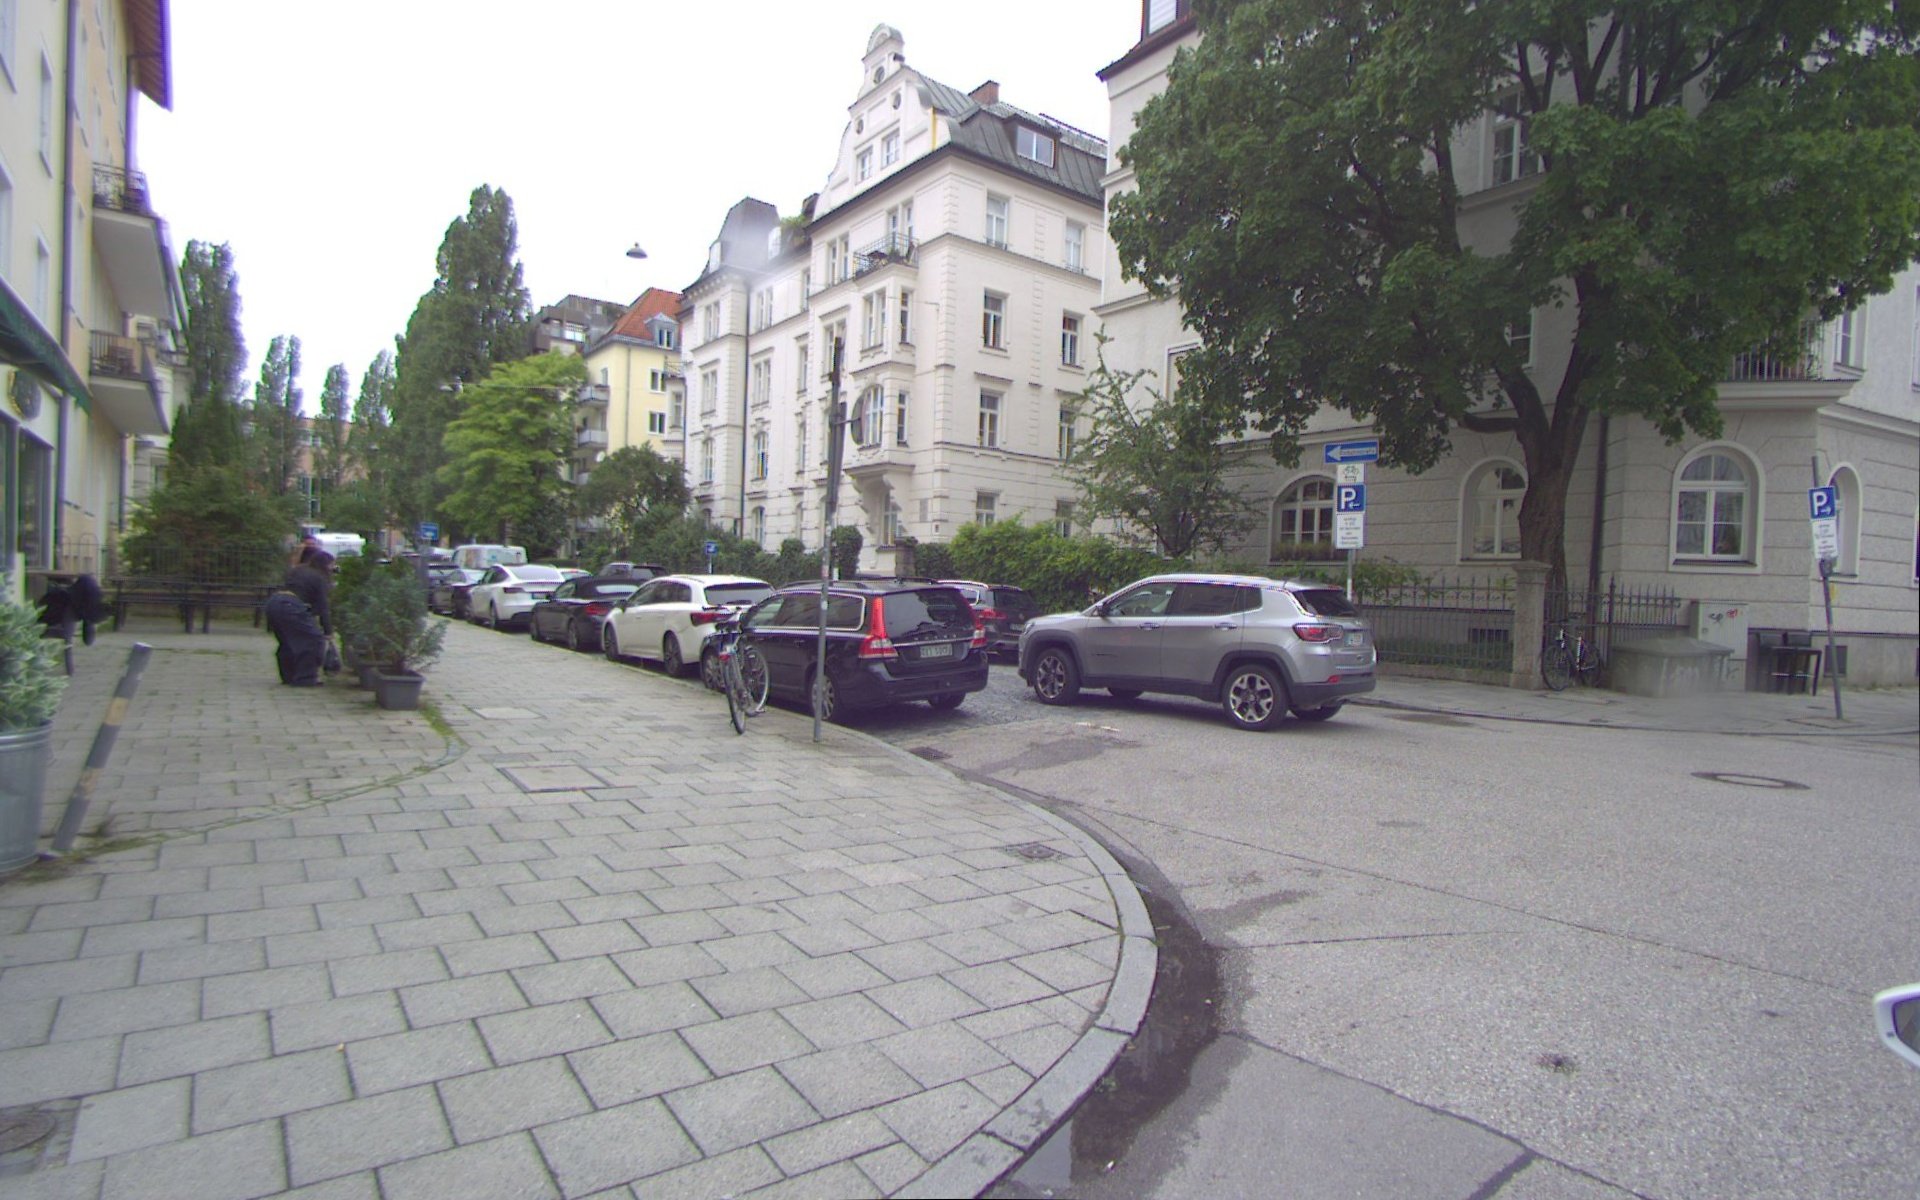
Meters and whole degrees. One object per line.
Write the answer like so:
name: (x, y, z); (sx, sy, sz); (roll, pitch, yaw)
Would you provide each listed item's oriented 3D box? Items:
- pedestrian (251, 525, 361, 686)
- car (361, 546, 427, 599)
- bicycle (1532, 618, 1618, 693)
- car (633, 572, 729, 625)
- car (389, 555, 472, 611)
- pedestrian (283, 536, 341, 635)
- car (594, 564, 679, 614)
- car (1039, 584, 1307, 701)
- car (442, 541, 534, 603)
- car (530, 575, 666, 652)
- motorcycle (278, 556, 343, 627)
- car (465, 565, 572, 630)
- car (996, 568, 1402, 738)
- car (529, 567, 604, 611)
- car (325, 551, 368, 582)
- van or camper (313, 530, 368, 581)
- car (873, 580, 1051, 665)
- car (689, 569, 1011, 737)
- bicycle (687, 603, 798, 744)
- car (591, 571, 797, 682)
pedestrian: (-6.755, 0.058, 10.404); (0.843, 1.572, 0.742); (4, 0, -33)
car: (-21.850, -1.053, 38.715); (1.692, 1.885, 3.957); (1, 1, -37)
bicycle: (9.649, 0.843, 15.742); (1.809, 1.067, 0.490); (-1, 3, -36)
car: (-8.950, -0.076, 32.074); (1.672, 1.554, 3.829); (1, 1, -36)
car: (-16.882, -0.560, 31.952); (1.692, 1.669, 3.957); (1, 1, -37)
pedestrian: (-11.550, -0.260, 17.894); (0.727, 1.678, 0.783); (4, 0, -37)
car: (-11.689, -0.427, 36.153); (1.692, 1.669, 3.957); (1, 1, -37)
car: (3.148, 0.563, 15.547); (1.669, 1.468, 3.960); (1, 1, -35)
car: (-20.389, -1.213, 43.303); (2.149, 2.508, 4.541); (1, 1, -45)
car: (-7.343, 0.220, 20.189); (1.578, 1.359, 3.774); (1, 1, -36)
motorcycle: (-14.584, -0.178, 22.509); (0.955, 1.482, 2.858); (1, 0, -38)
car: (-11.069, -0.090, 25.030); (1.605, 1.461, 3.958); (1, 1, -36)
car: (2.693, 0.487, 11.902); (4.245, 1.629, 1.954); (2, 1, 41)
car: (-12.874, -0.375, 32.797); (1.591, 1.348, 2.922); (1, 1, -36)
car: (-35.155, -1.902, 57.549); (1.692, 1.669, 3.957); (1, 1, -37)
van or camper: (-38.807, -2.734, 62.884); (2.406, 2.974, 5.314); (1, 1, -37)
car: (-0.068, 0.400, 20.342); (1.635, 1.493, 3.961); (1, 1, -34)
car: (-1.497, 0.453, 12.145); (1.886, 1.537, 4.299); (-3, 4, -38)
bicycle: (-2.062, 0.651, 9.742); (0.597, 1.184, 1.835); (3, 1, 1)
car: (-4.415, 0.312, 16.253); (1.669, 1.528, 4.216); (-1, 3, -39)
